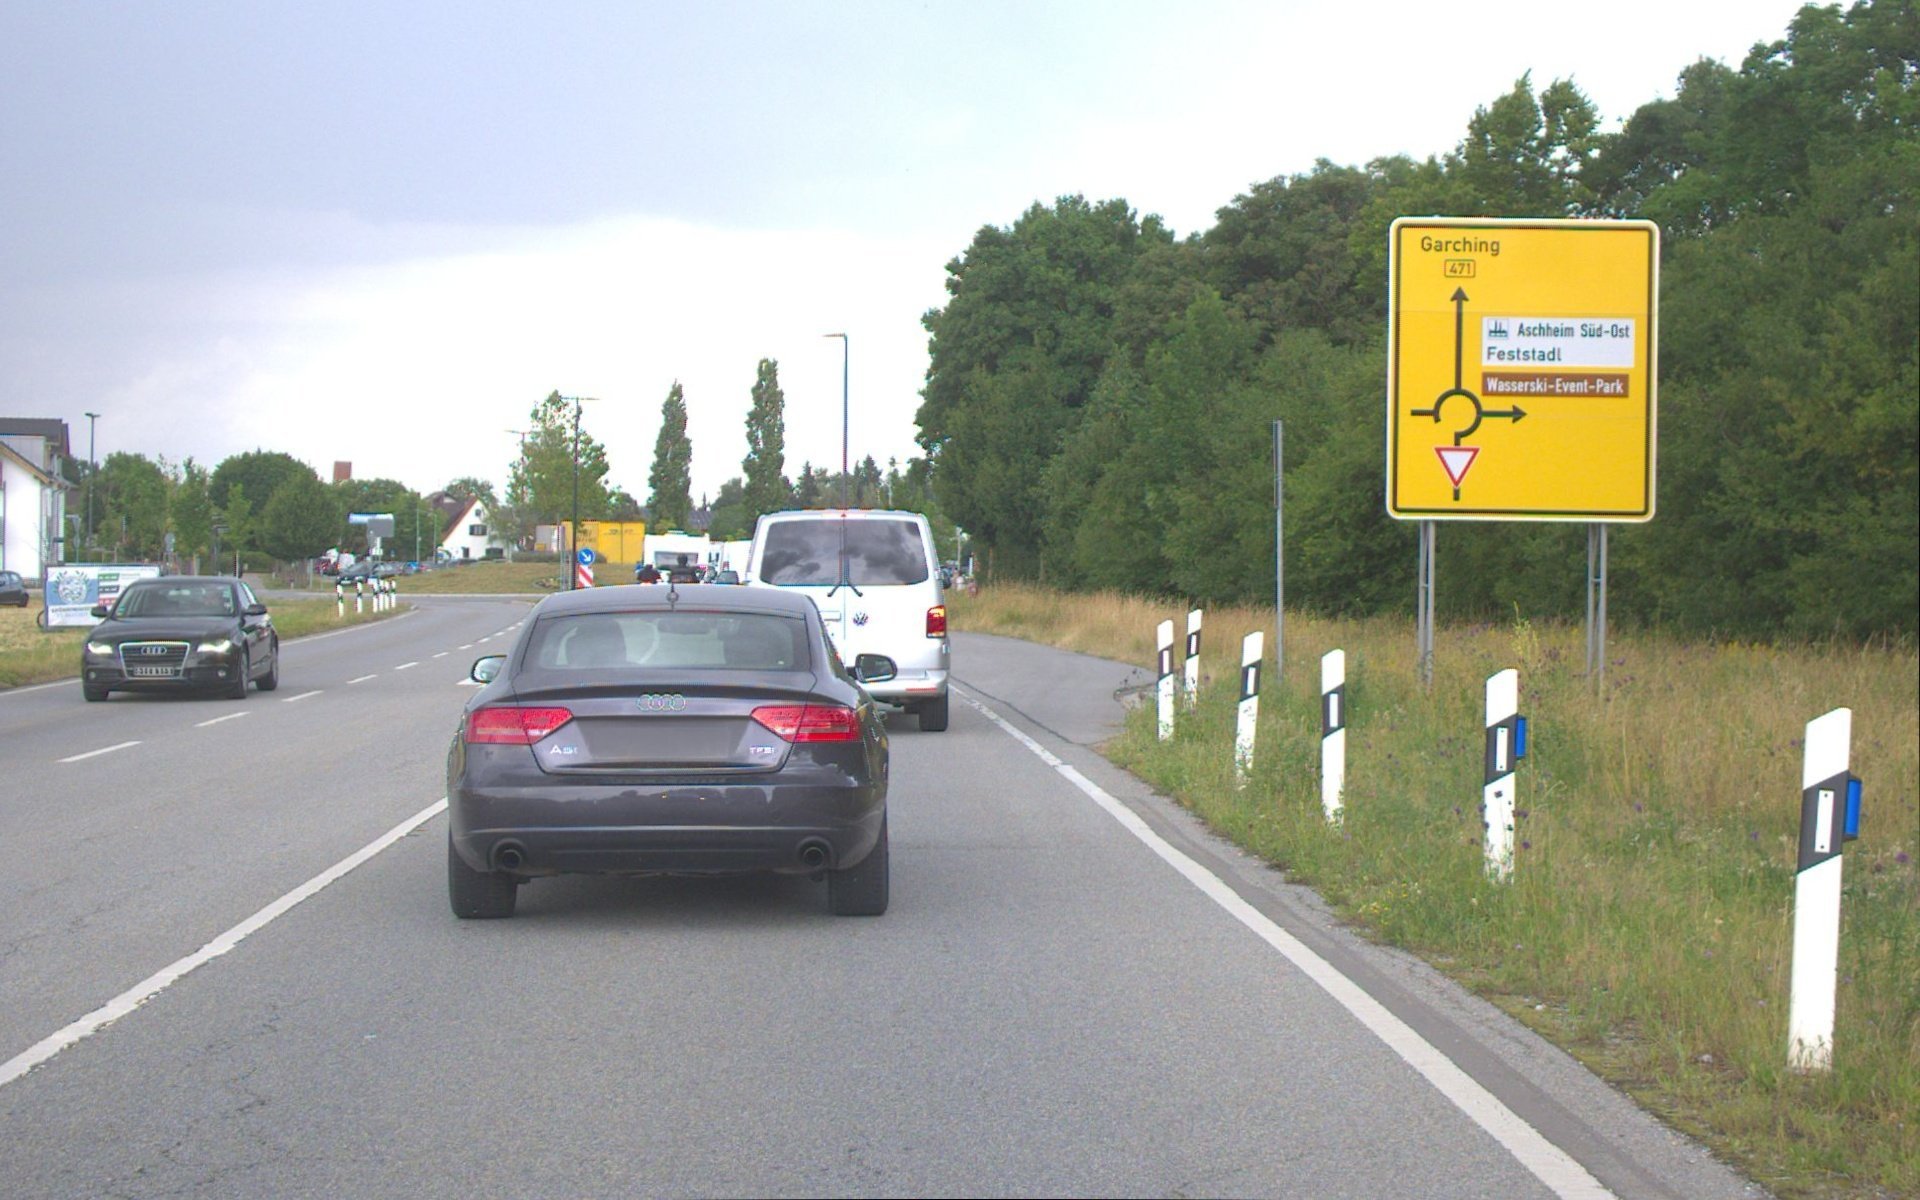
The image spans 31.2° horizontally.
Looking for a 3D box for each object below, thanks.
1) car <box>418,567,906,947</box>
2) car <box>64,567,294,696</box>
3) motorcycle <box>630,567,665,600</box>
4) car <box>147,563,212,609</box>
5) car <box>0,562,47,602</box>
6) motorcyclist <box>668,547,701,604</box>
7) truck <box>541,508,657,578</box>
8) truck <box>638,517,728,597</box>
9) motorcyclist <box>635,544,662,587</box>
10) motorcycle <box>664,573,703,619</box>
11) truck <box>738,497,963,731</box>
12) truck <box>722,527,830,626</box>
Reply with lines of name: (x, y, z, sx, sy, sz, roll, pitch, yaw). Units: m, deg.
car: (-1.289, 0.582, 15.353, 1.875, 1.449, 4.177, 0, 1, -4)
car: (-9.069, 0.325, 40.272, 1.826, 1.405, 4.424, -1, 1, -2)
motorcycle: (-9.909, -0.525, 109.062, 0.944, 1.016, 2.284, 0, 1, -9)
car: (-26.000, -0.486, 114.412, 1.993, 1.437, 4.001, 0, 1, -14)
car: (-35.547, -0.667, 126.334, 1.995, 1.441, 4.209, 0, 1, 15)
motorcyclist: (-6.727, -0.601, 83.957, 0.772, 1.379, 0.820, 1, 0, -4)
truck: (-19.422, -3.069, 184.262, 3.575, 3.566, 9.959, 1, 1, -22)
truck: (-9.937, -1.520, 122.841, 2.625, 2.728, 5.869, 1, 0, -10)
motorcyclist: (-9.890, -1.106, 109.001, 0.785, 1.352, 0.854, 0, 0, -9)
motorcycle: (-6.743, -0.105, 83.996, 0.920, 1.090, 2.189, 1, 1, -4)
truck: (-1.065, 0.091, 31.696, 1.904, 1.991, 4.629, 0, 1, -3)
truck: (-3.911, -0.509, 73.047, 2.193, 2.007, 5.085, 0, 0, -3)
